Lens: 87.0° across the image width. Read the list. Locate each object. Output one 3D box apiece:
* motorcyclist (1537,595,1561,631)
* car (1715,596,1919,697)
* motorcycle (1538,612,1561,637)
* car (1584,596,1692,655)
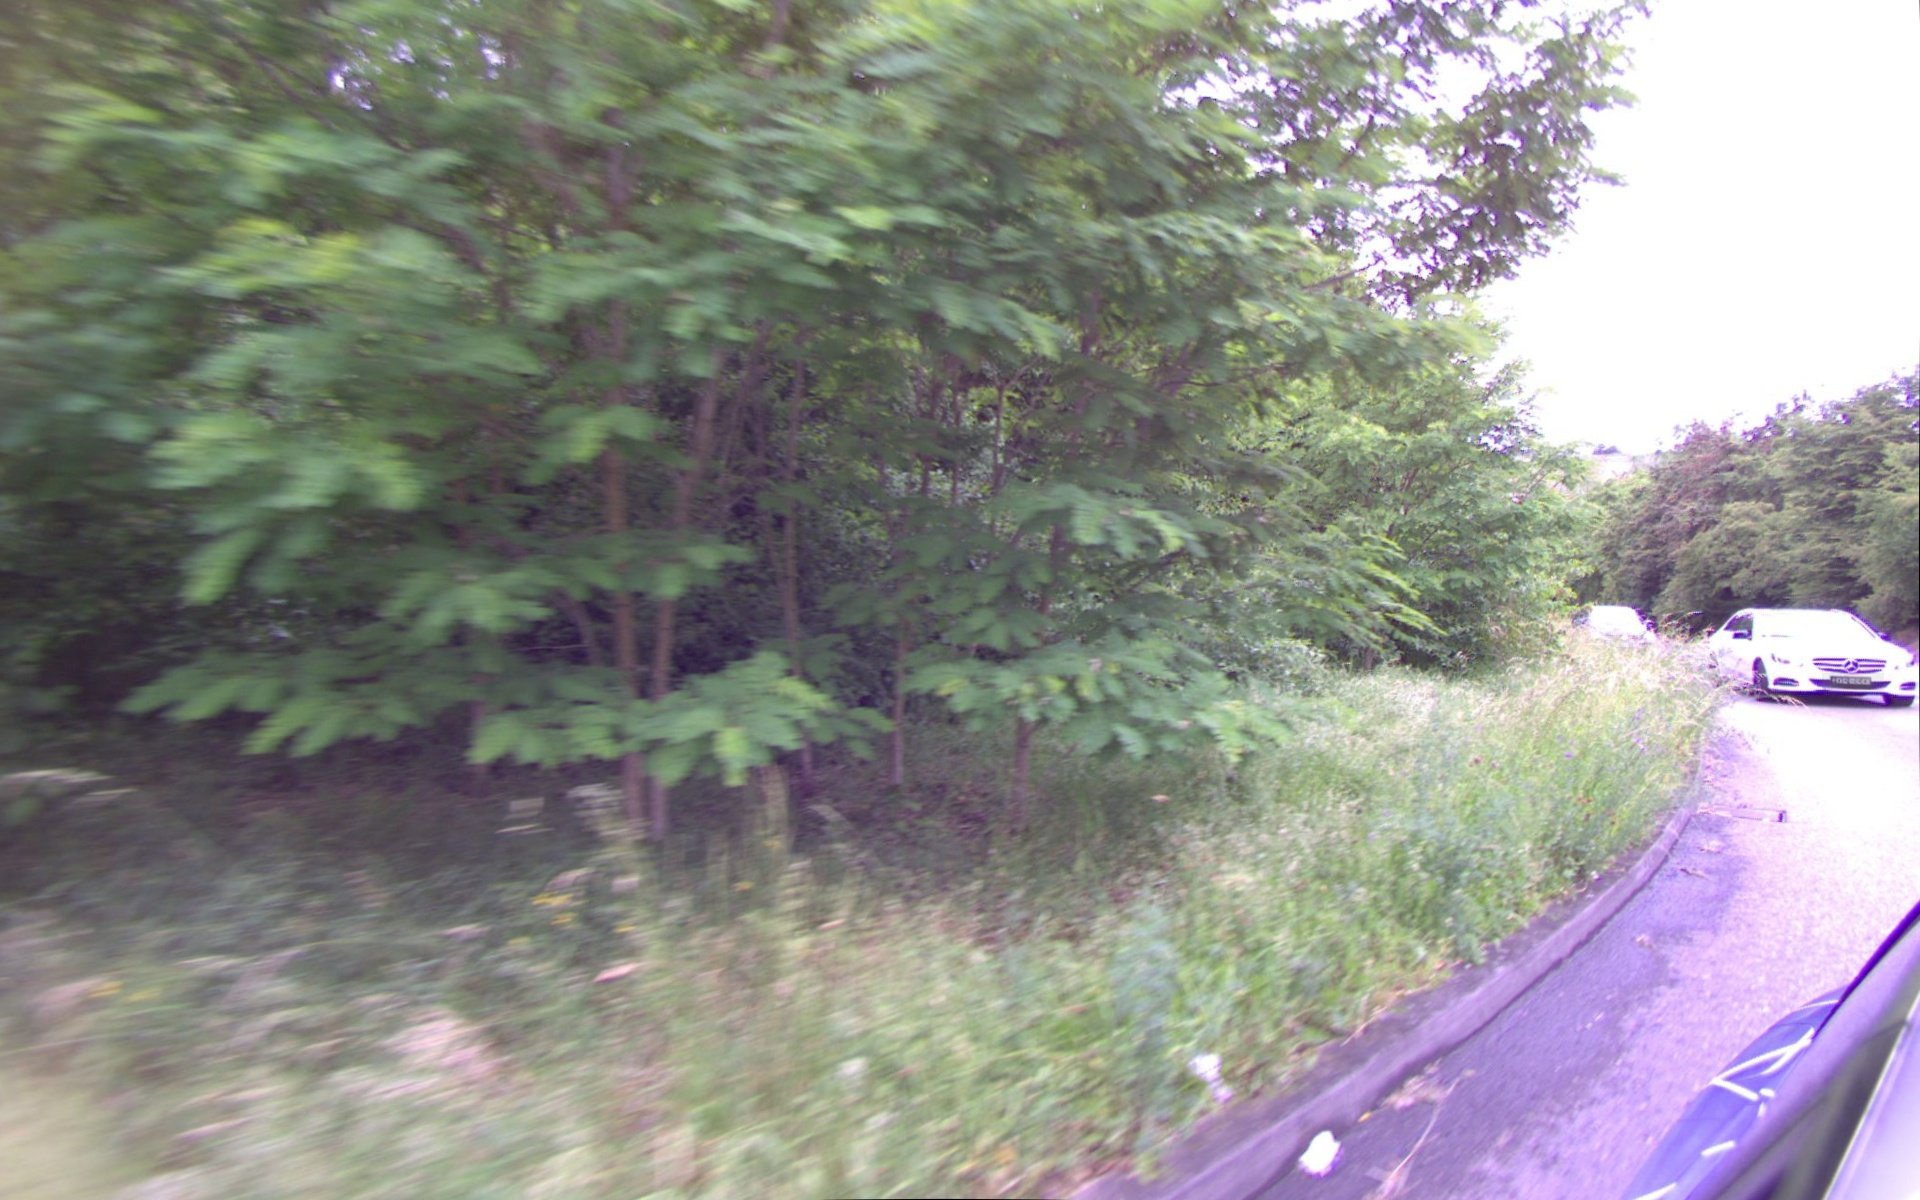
[{"bbox_3d":[24.527,0.518,42.151,0.811,1.484,0.780,0,0,25],"label":"motorcyclist"},{"bbox_3d":[13.944,0.666,16.479,1.869,1.440,3.965,0,0,25],"label":"car"},{"bbox_3d":[24.502,1.006,42.088,0.696,0.988,1.679,0,0,26],"label":"motorcycle"},{"bbox_3d":[19.865,0.719,29.814,1.802,1.564,3.699,2,0,21],"label":"car"}]
